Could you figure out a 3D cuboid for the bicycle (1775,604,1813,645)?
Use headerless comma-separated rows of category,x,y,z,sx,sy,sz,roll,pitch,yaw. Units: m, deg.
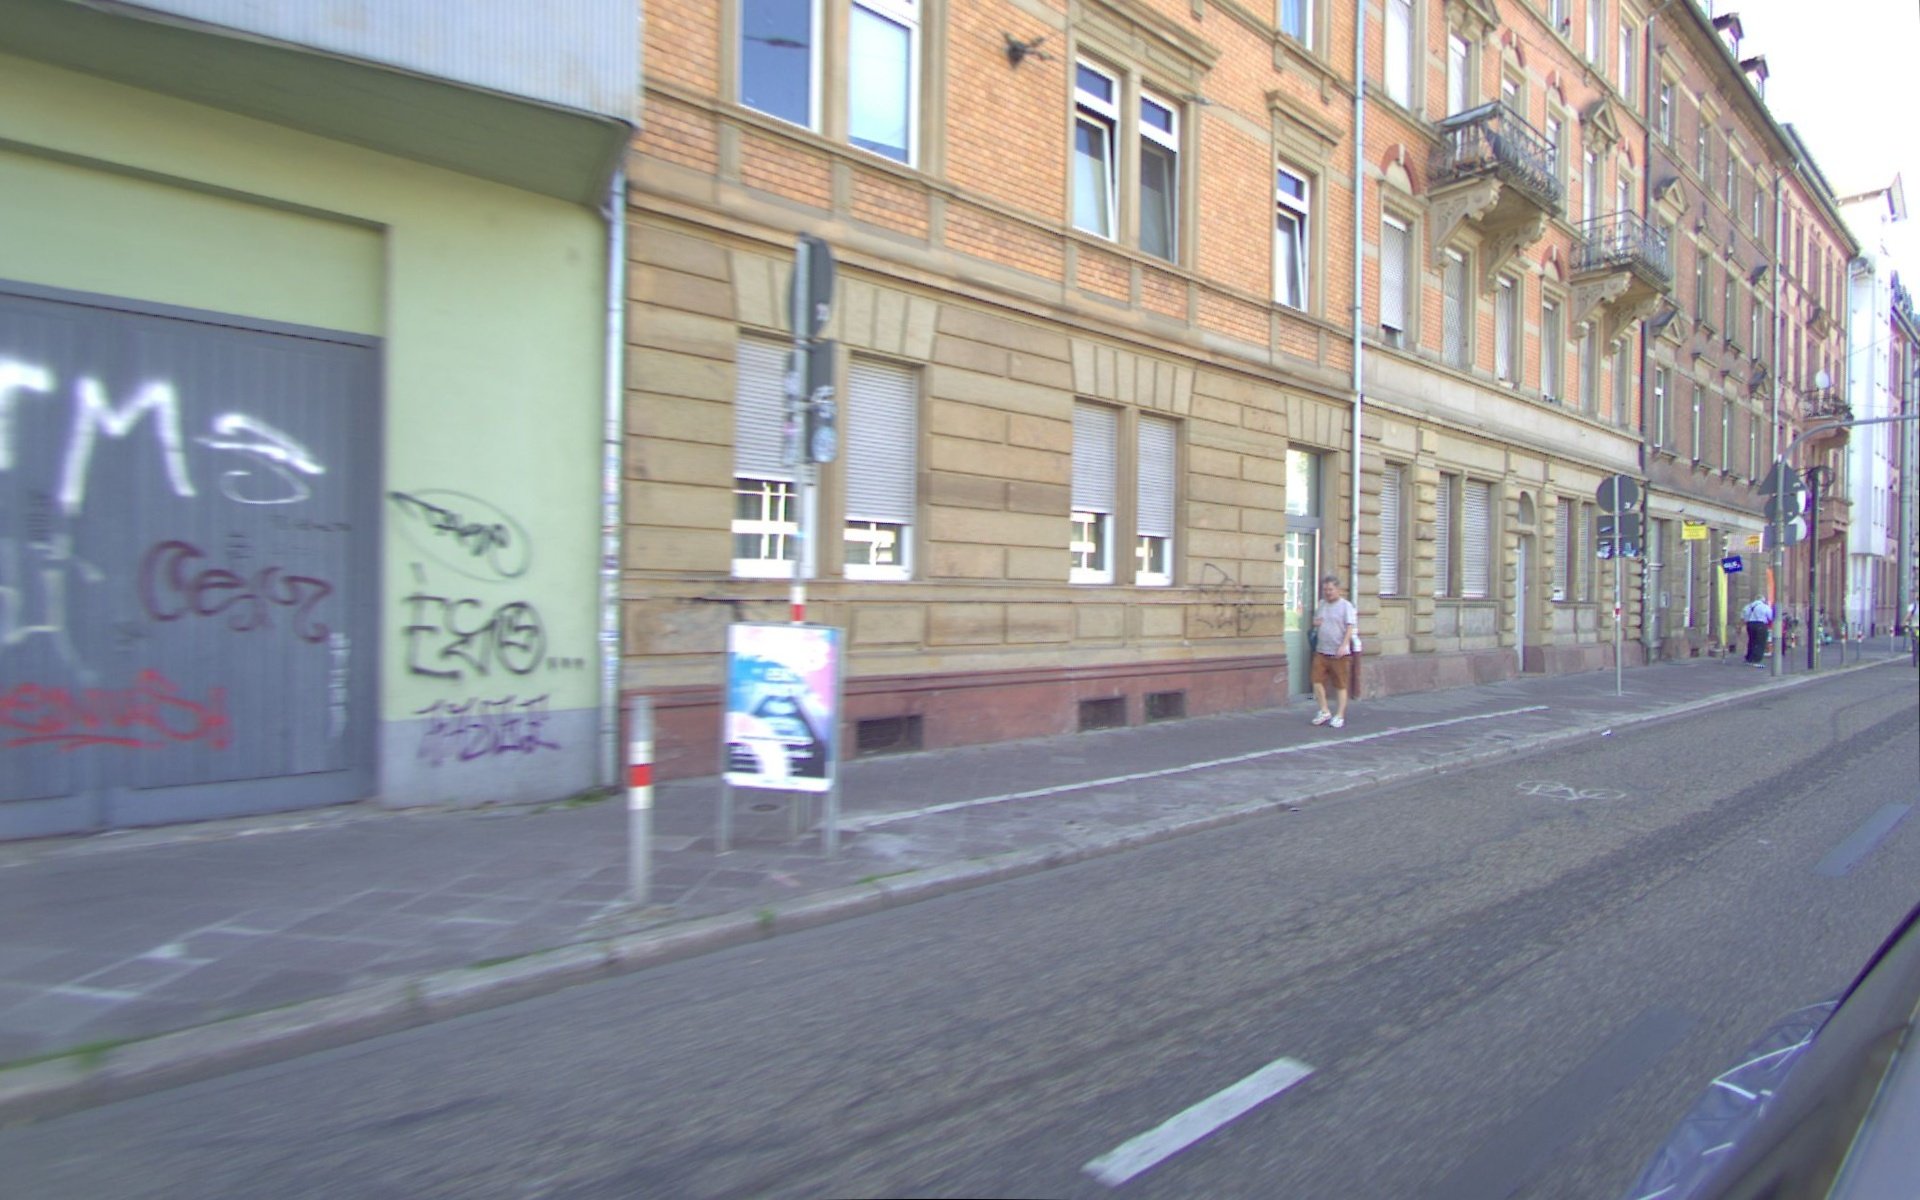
bicycle,24.931,0.717,30.238,1.862,1.135,0.411,-1,2,-37

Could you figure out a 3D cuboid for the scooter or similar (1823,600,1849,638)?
scooter or similar,29.515,0.645,34.105,1.454,1.226,0.407,0,2,-40

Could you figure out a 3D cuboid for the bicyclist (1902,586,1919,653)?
bicyclist,25.086,0.496,26.063,1.096,1.705,0.684,-1,-1,-15

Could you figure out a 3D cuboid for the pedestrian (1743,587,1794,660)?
pedestrian,18.559,0.523,23.233,0.640,1.625,0.800,0,1,-38

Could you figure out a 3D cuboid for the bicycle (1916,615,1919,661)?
bicycle,25.061,0.963,26.006,1.900,1.131,0.532,-1,1,-41

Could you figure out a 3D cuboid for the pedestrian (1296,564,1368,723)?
pedestrian,4.186,0.465,11.399,0.465,1.721,0.554,0,2,-40
